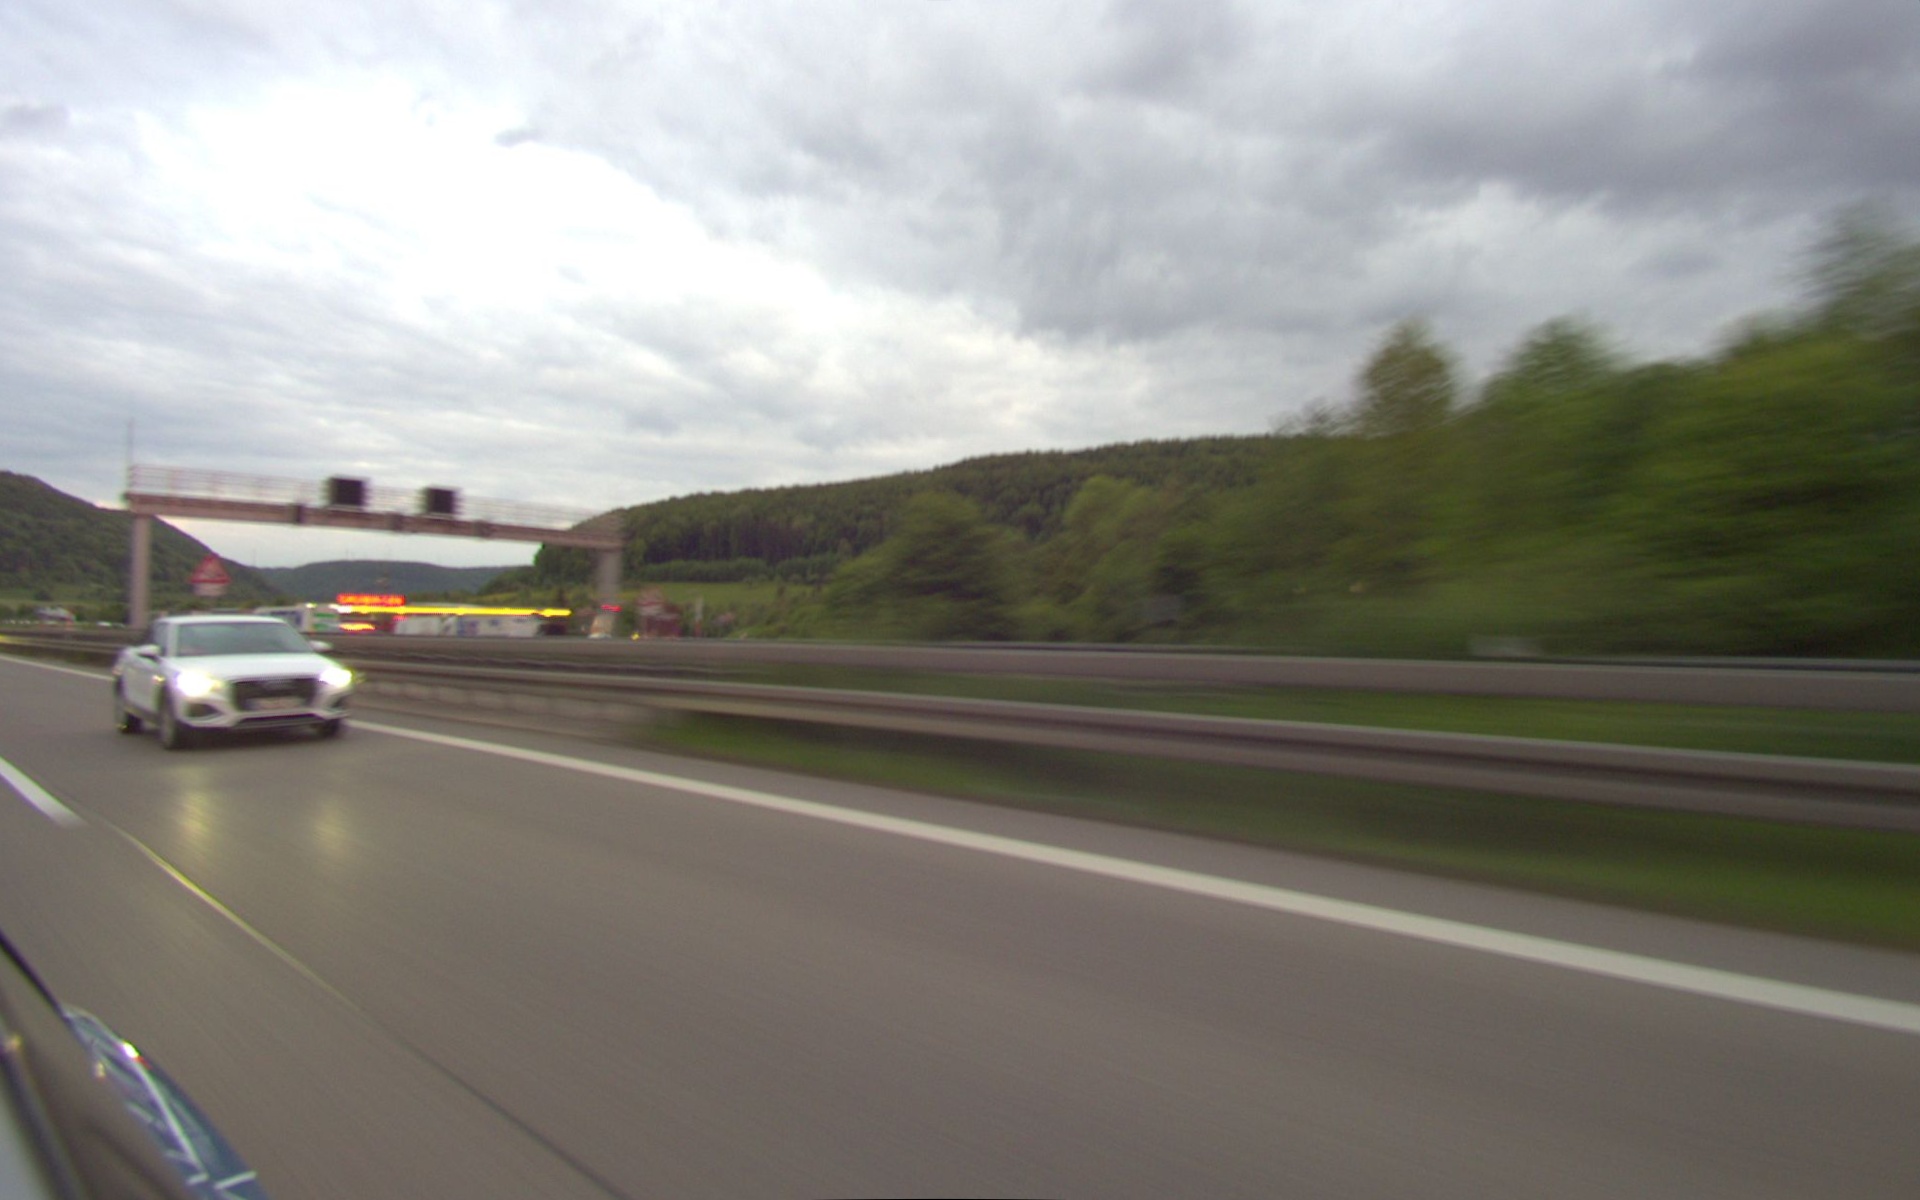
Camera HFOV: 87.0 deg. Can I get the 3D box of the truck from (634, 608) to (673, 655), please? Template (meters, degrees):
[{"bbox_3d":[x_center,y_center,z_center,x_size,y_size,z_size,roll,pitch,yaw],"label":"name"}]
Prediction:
[{"bbox_3d":[-26.050,2.638,85.750,2.962,3.707,7.701,0,-1,-18],"label":"truck"}]

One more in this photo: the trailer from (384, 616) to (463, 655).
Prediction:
[{"bbox_3d":[-62.944,4.147,118.427,15.942,4.292,2.985,-2,-2,42],"label":"trailer"}]

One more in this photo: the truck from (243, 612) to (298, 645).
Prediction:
[{"bbox_3d":[-72.372,3.002,106.213,6.716,3.451,2.846,-2,-2,38],"label":"truck"}]

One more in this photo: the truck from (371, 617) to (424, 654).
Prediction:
[{"bbox_3d":[-68.918,4.313,123.852,8.862,4.292,2.986,-2,-2,42],"label":"truck"}]

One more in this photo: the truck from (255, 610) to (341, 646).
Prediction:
[{"bbox_3d":[-66.744,2.828,101.867,13.767,3.451,2.847,-2,-2,37],"label":"truck"}]

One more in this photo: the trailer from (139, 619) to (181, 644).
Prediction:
[{"bbox_3d":[-117.459,4.603,148.505,13.223,3.451,2.842,-2,-2,43],"label":"trailer"}]

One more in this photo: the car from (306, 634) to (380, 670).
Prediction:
[{"bbox_3d":[-29.227,2.414,47.869,4.643,1.598,1.711,-2,-2,42],"label":"car"}]

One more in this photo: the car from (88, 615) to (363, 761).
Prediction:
[{"bbox_3d":[-9.571,0.999,13.005,5.034,1.512,1.771,-2,-1,41],"label":"car"}]

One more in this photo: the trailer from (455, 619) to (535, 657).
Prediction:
[{"bbox_3d":[-48.457,3.912,105.154,12.713,3.707,2.843,-2,-2,42],"label":"trailer"}]

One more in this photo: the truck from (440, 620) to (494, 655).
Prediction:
[{"bbox_3d":[-53.521,4.096,109.791,7.027,3.668,2.842,-2,-2,43],"label":"truck"}]

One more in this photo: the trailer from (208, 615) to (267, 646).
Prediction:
[{"bbox_3d":[-84.598,3.633,118.334,13.847,3.451,2.842,-2,-2,42],"label":"trailer"}]

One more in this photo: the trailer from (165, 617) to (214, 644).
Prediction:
[{"bbox_3d":[-103.074,4.138,135.271,13.568,3.451,2.842,-2,-2,42],"label":"trailer"}]

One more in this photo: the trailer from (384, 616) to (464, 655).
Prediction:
[{"bbox_3d":[-62.911,4.148,118.465,15.942,4.292,2.985,-2,-2,42],"label":"trailer"}]

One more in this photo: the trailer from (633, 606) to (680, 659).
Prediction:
[{"bbox_3d":[-23.882,2.500,79.217,3.019,3.707,13.384,0,-1,-19],"label":"trailer"}]

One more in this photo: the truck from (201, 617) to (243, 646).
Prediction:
[{"bbox_3d":[-89.797,3.814,123.105,6.725,3.451,2.842,-2,-2,43],"label":"truck"}]
